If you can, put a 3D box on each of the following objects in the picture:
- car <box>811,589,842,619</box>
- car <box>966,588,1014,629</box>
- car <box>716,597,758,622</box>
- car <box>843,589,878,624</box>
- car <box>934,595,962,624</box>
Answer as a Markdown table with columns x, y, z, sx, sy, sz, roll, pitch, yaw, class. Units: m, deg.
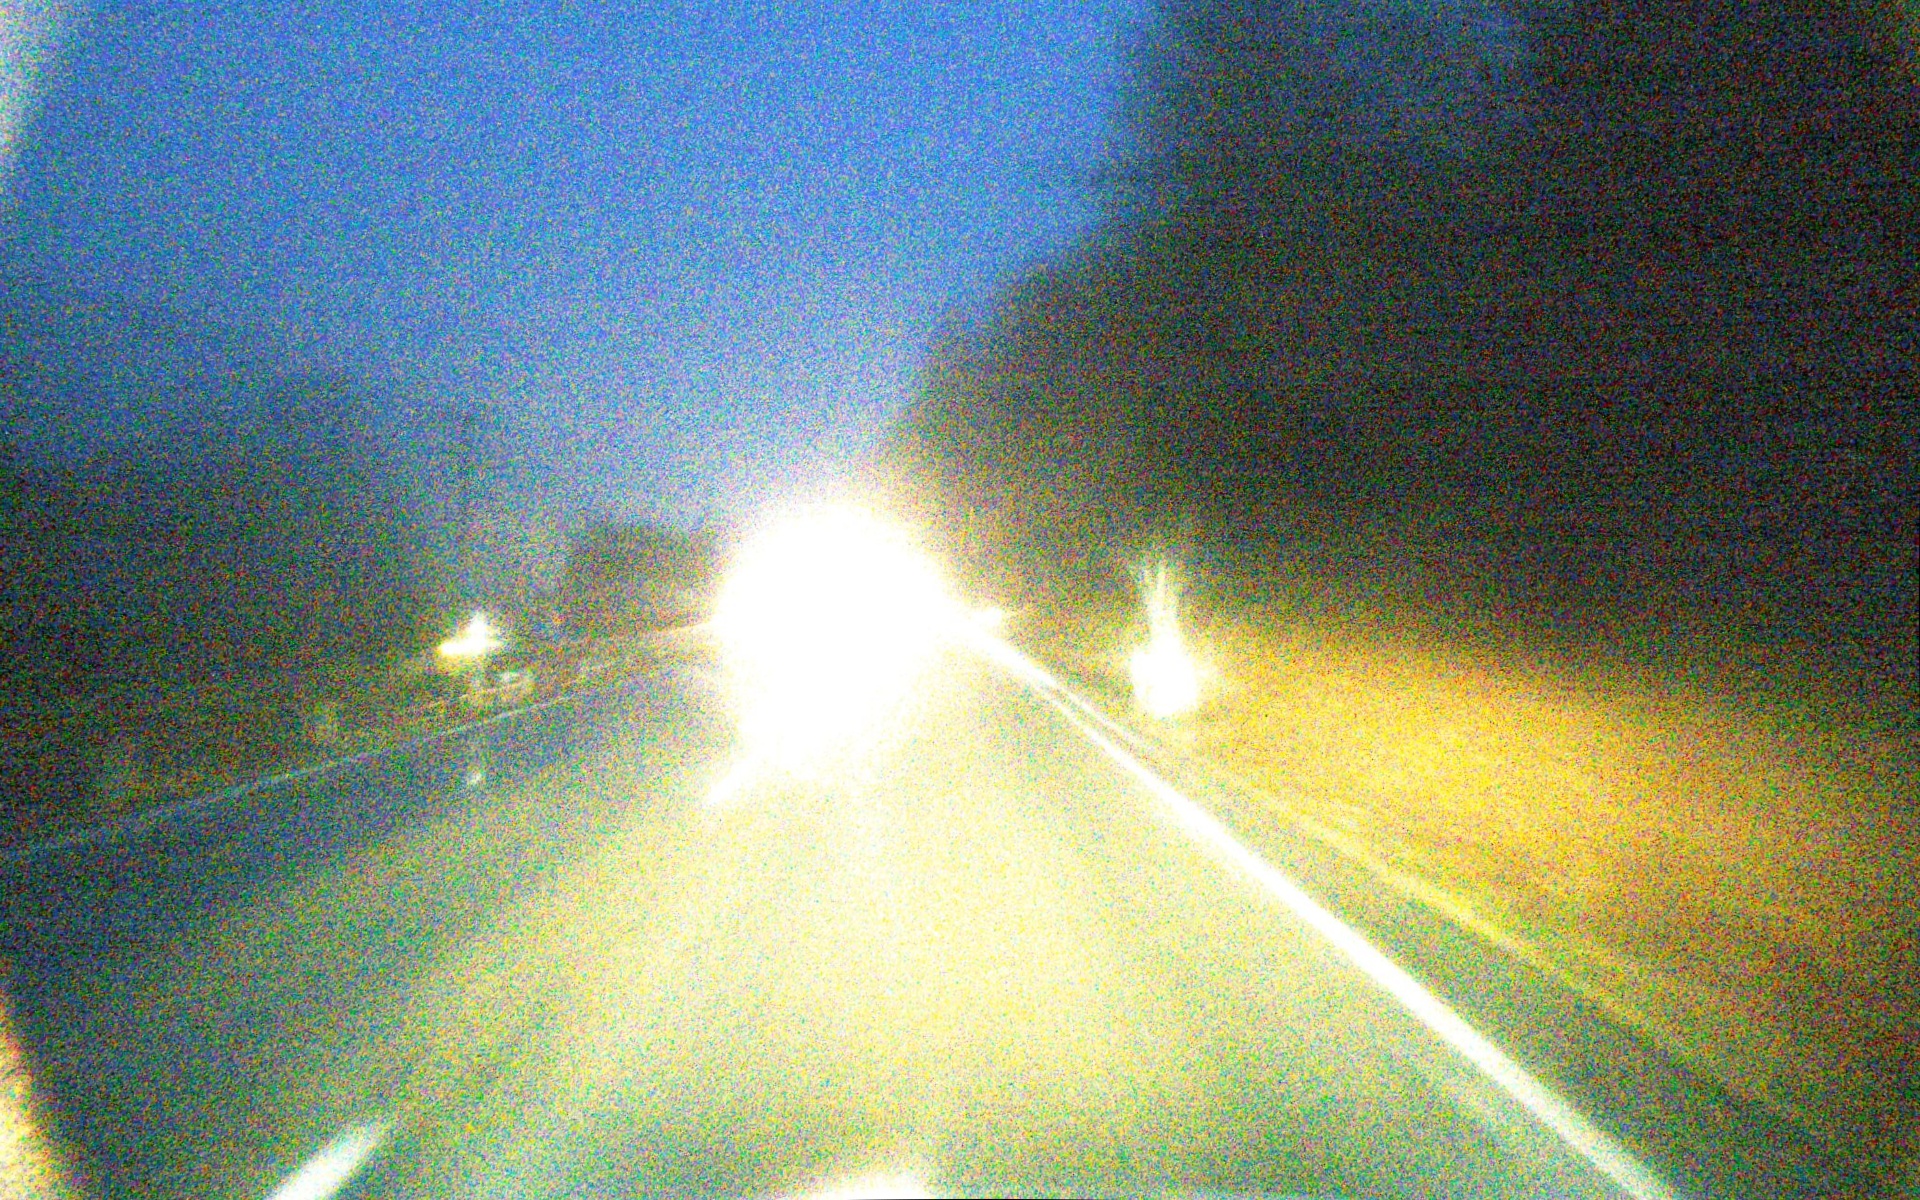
| x | y | z | sx | sy | sz | roll | pitch | yaw | class |
| --- | --- | --- | --- | --- | --- | --- | --- | --- | --- |
| -9.574 | 0.262 | 119.141 | 1.953 | 2.049 | 3.999 | 1 | 0 | -1 | car |
| 1.238 | 0.342 | 69.436 | 1.953 | 1.646 | 4.000 | 0 | 0 | 0 | car |
| -13.509 | 0.548 | 100.293 | 1.953 | 1.473 | 4.429 | 1 | 0 | -1 | car |
| -6.172 | 0.383 | 102.862 | 1.953 | 2.049 | 3.999 | 1 | 0 | -1 | car |
| -0.903 | 0.677 | 119.706 | 1.953 | 2.049 | 3.999 | 1 | 0 | -1 | car |
